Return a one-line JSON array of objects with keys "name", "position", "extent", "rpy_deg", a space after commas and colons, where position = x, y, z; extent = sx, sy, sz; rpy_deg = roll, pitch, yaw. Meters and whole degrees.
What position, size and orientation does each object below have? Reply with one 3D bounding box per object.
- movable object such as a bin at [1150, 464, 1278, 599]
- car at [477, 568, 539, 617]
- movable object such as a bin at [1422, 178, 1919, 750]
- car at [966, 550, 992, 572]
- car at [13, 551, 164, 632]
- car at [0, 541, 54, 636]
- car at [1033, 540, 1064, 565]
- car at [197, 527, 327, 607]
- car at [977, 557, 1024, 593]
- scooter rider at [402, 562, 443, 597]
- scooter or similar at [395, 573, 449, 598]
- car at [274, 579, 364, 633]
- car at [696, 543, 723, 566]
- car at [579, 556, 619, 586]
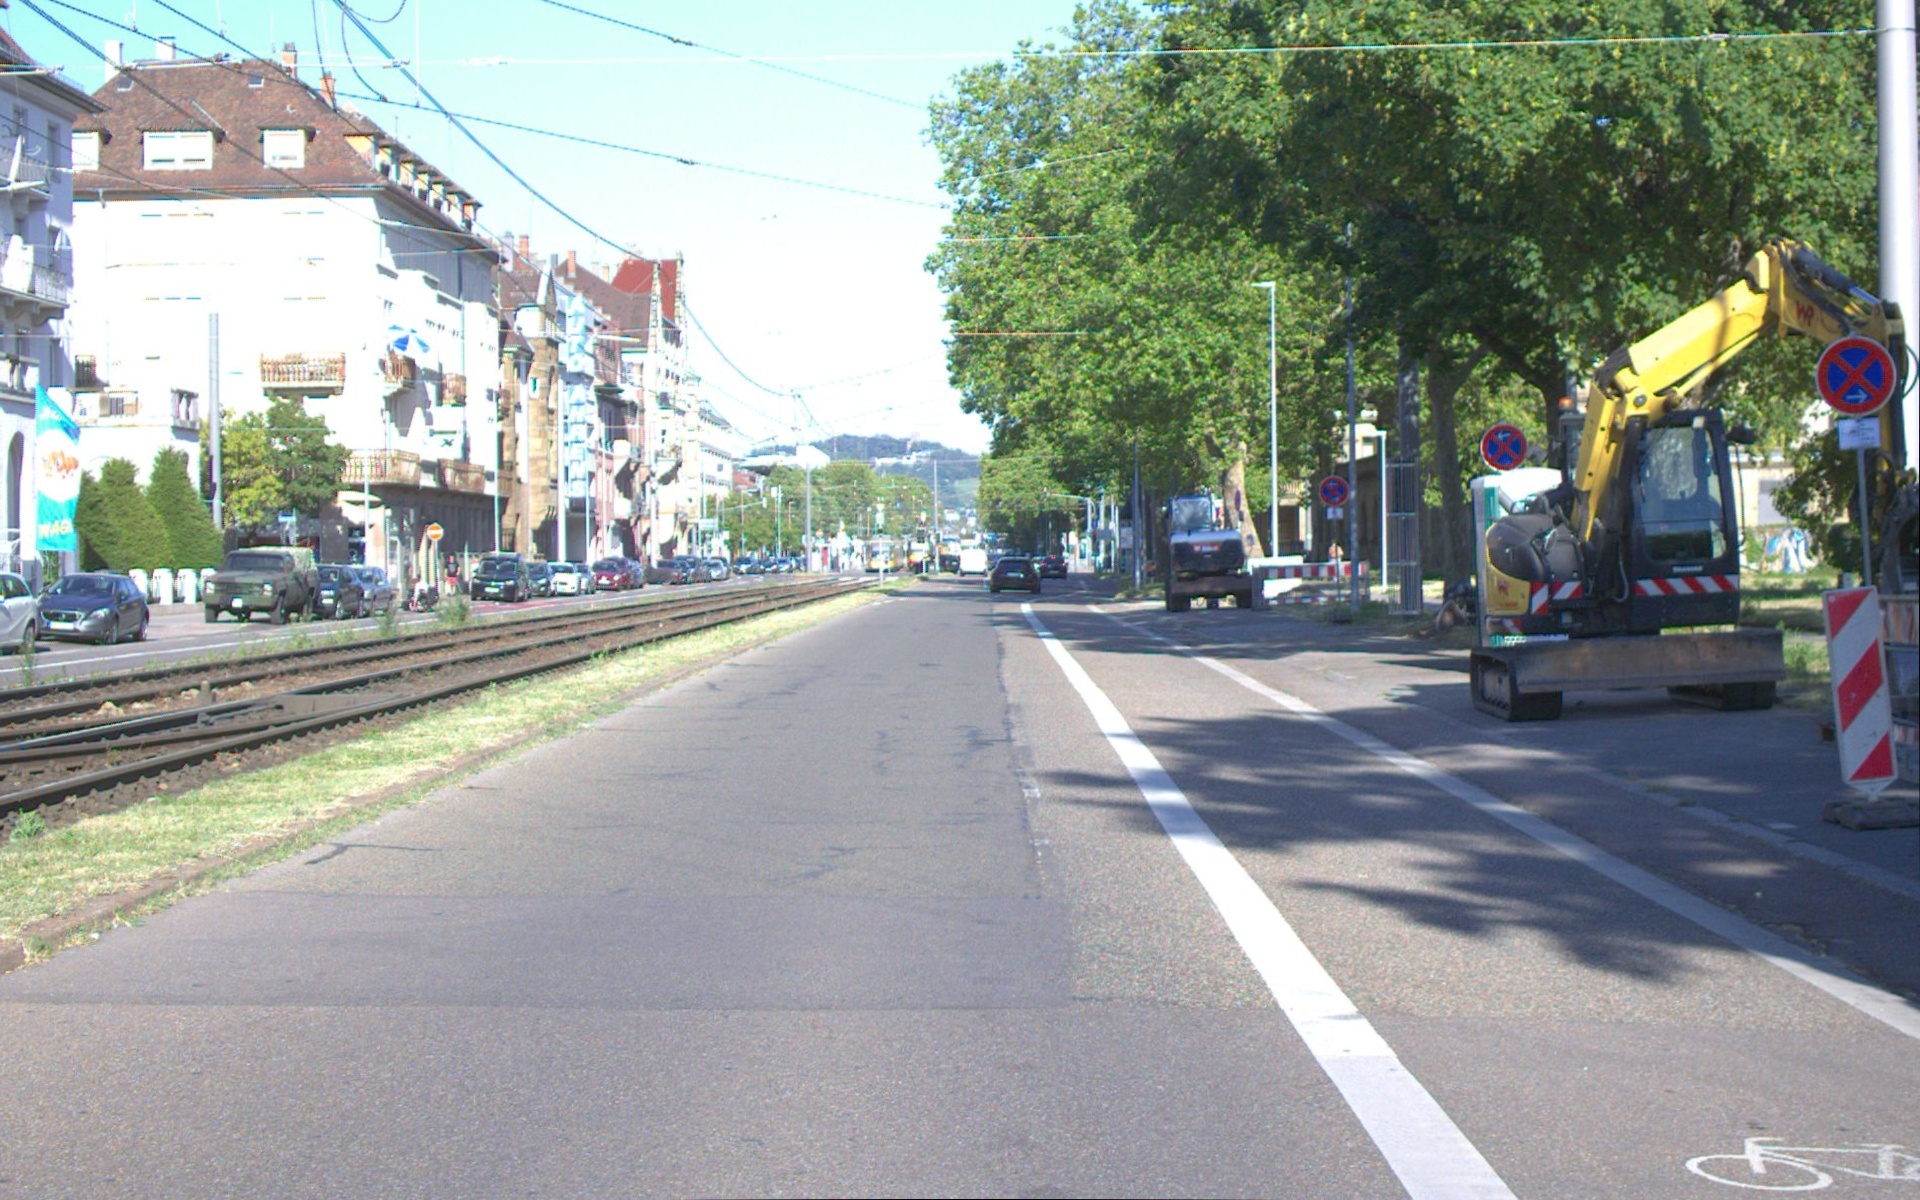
[{"name": "movable object such as a bin", "position": [6.428, -1.758, 87.970], "extent": [2.744, 3.135, 7.219], "rpy_deg": [-4, 1, 2]}, {"name": "car", "position": [-17.651, -0.308, 134.468], "extent": [1.862, 1.780, 4.402], "rpy_deg": [1, 1, 0]}, {"name": "movable object such as a bin", "position": [6.211, -1.069, 28.487], "extent": [3.338, 3.962, 7.599], "rpy_deg": [-4, 1, -1]}, {"name": "car", "position": [1.331, -2.770, 243.379], "extent": [1.794, 1.505, 4.000], "rpy_deg": [1, 0, 0]}, {"name": "car", "position": [-18.206, -0.207, 72.042], "extent": [1.920, 1.456, 4.842], "rpy_deg": [4, 1, -1]}, {"name": "car", "position": [-18.293, -0.227, 62.971], "extent": [1.921, 1.689, 4.842], "rpy_deg": [1, 1, 3]}, {"name": "car", "position": [5.376, -2.893, 209.274], "extent": [1.794, 1.505, 4.000], "rpy_deg": [0, 1, 0]}, {"name": "car", "position": [-18.517, -0.895, 91.497], "extent": [2.077, 2.003, 5.591], "rpy_deg": [1, 1, 2]}, {"name": "car", "position": [1.593, -1.013, 137.690], "extent": [1.833, 1.386, 4.159], "rpy_deg": [0, 1, 0]}, {"name": "scooter rider", "position": [-17.236, -0.662, 110.297], "extent": [0.977, 1.085, 0.807], "rpy_deg": [-1, 1, 32]}, {"name": "scooter or similar", "position": [-17.269, -0.466, 110.320], "extent": [1.567, 0.768, 0.807], "rpy_deg": [-1, 1, 32]}, {"name": "car", "position": [-18.203, 0.157, 97.734], "extent": [1.635, 1.502, 4.159], "rpy_deg": [0, 0, 2]}, {"name": "car", "position": [-17.471, -3.148, 239.506], "extent": [1.794, 1.505, 4.001], "rpy_deg": [2, 1, -4]}, {"name": "car", "position": [-18.140, -1.459, 172.782], "extent": [1.833, 1.386, 4.036], "rpy_deg": [2, 1, -4]}]
